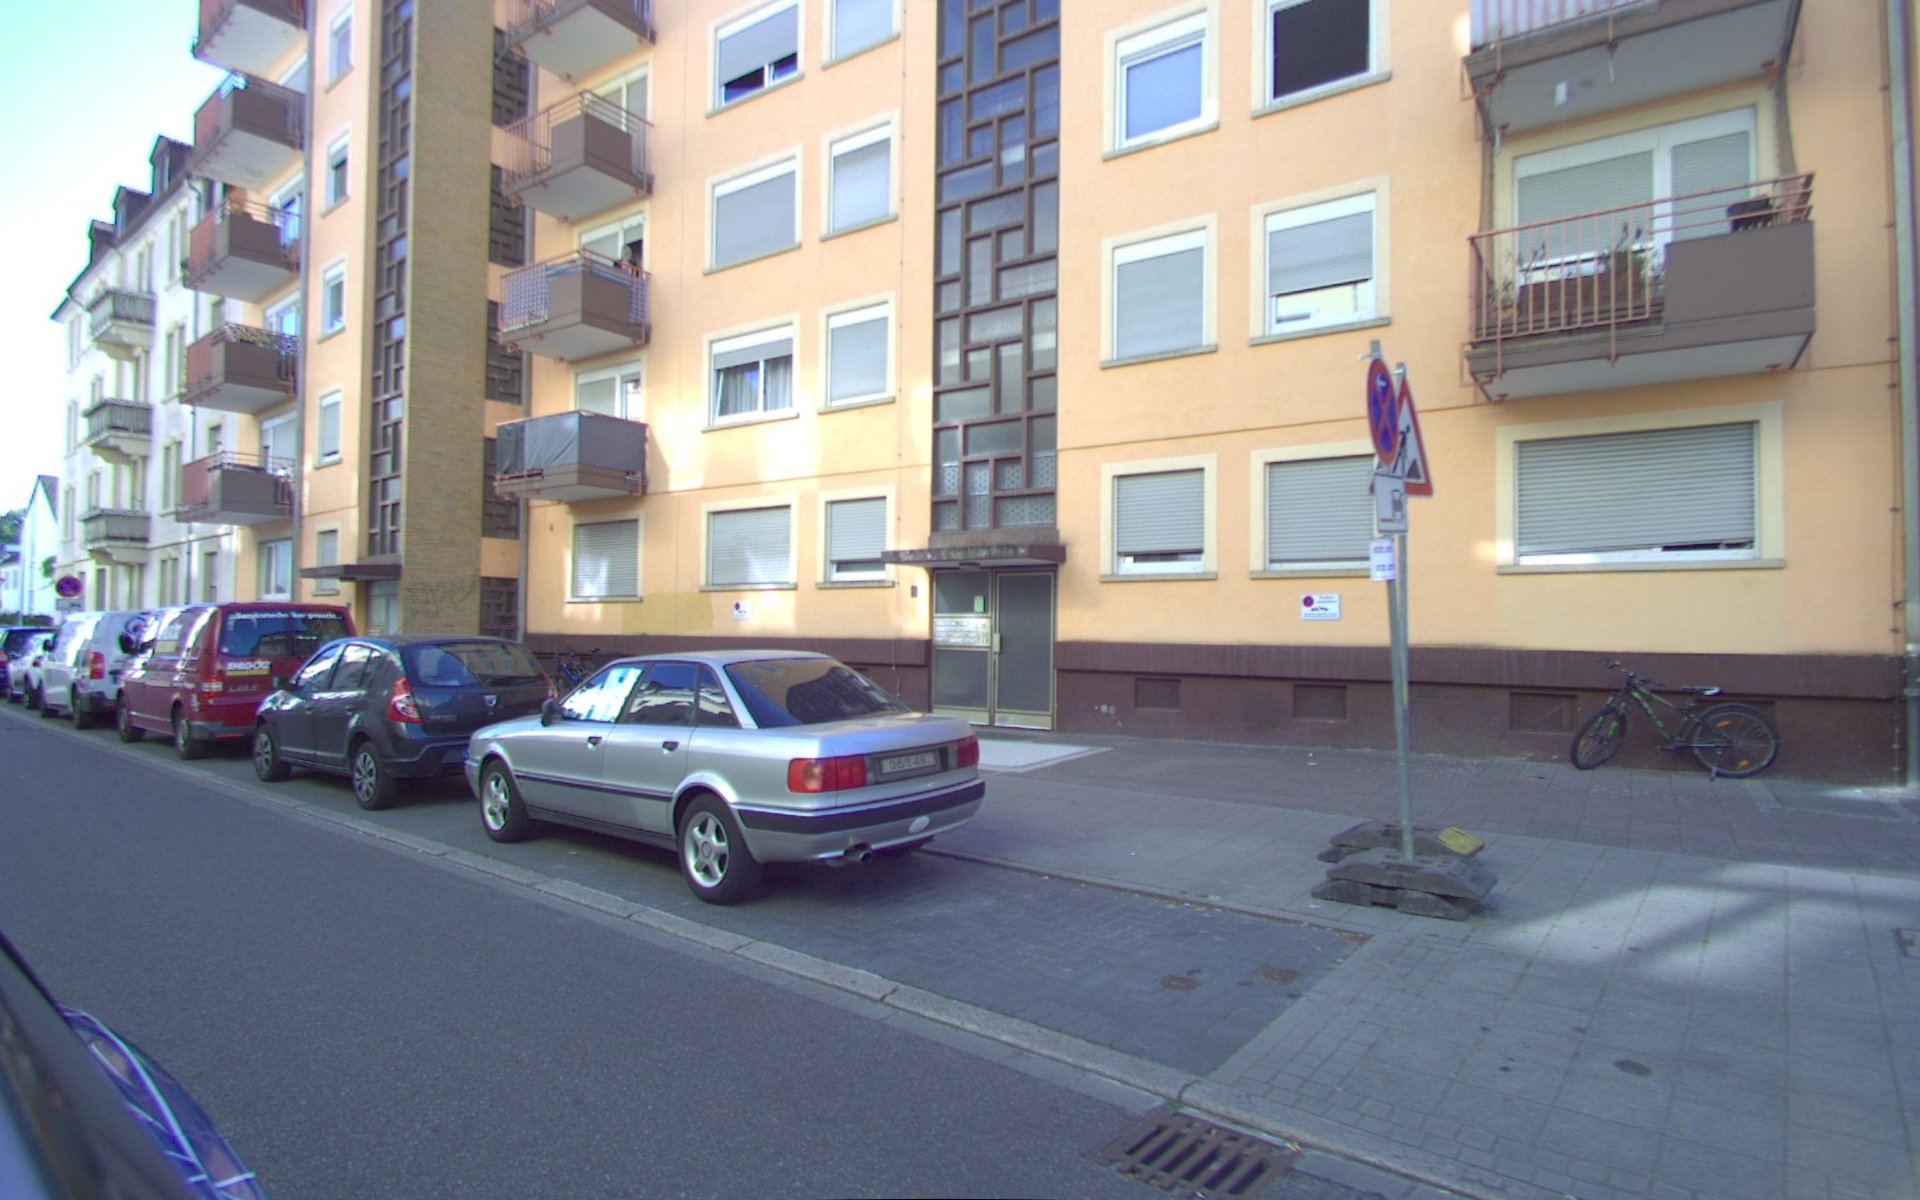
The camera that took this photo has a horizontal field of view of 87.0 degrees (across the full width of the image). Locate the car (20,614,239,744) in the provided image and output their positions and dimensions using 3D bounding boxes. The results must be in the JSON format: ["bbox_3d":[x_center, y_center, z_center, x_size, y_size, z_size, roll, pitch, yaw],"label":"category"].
[{"bbox_3d":[-14.561,1.263,17.625,5.304,1.940,1.956,-2,-2,40],"label":"car"}]

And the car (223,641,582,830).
[{"bbox_3d":[-5.710,1.192,10.198,3.995,1.514,1.745,-2,-3,39],"label":"car"}]

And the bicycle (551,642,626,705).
[{"bbox_3d":[-6.896,1.342,18.774,1.758,1.122,0.338,-1,-3,34],"label":"bicycle"}]

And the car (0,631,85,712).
[{"bbox_3d":[-22.600,1.649,24.278,4.290,1.784,1.745,-2,-2,40],"label":"car"}]

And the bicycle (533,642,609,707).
[{"bbox_3d":[-7.099,1.335,18.448,1.758,1.122,0.338,-1,-3,34],"label":"bicycle"}]

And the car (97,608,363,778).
[{"bbox_3d":[-10.077,1.128,13.813,4.930,1.940,1.745,-2,-2,40],"label":"car"}]

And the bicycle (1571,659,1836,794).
[{"bbox_3d":[6.713,1.105,9.248,1.889,1.072,0.499,-2,0,36],"label":"bicycle"}]

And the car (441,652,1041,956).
[{"bbox_3d":[-1.757,1.099,7.056,4.475,1.388,1.744,-2,-2,40],"label":"car"}]

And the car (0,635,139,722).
[{"bbox_3d":[-18.870,1.549,21.219,4.291,1.633,1.745,-2,-2,40],"label":"car"}]
